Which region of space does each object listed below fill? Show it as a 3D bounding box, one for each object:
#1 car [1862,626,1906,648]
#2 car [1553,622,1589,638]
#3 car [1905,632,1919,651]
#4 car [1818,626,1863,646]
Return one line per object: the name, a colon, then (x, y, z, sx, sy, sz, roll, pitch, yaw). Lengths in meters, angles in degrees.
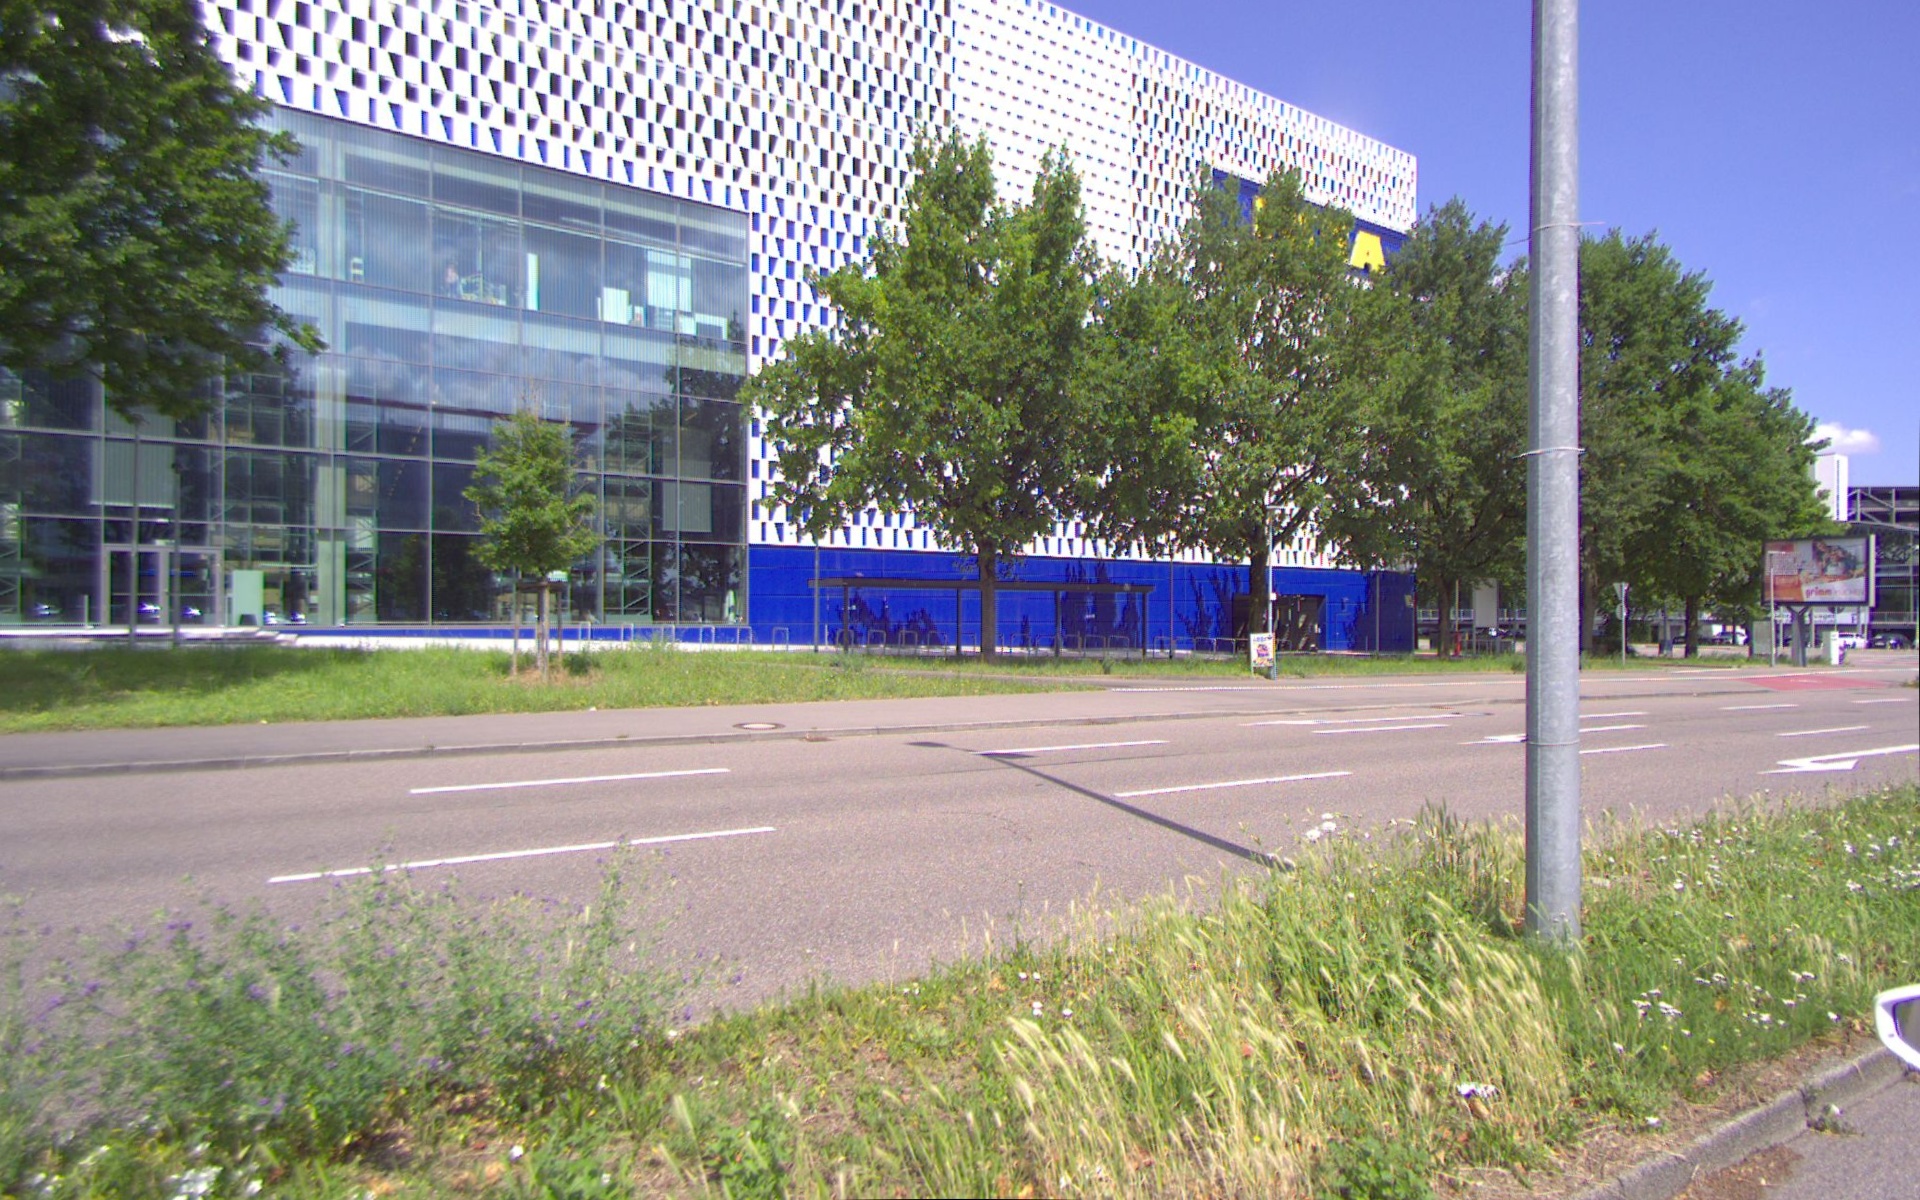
car: (73.409, 2.900, 79.778, 3.577, 1.682, 1.747, 0, 0, -33)
car: (61.469, 3.014, 101.051, 3.660, 1.506, 1.718, 0, 0, -32)
car: (74.949, 3.189, 77.667, 3.711, 1.394, 1.897, 0, 0, -32)
car: (72.126, 2.943, 82.274, 3.660, 1.506, 1.868, 0, 0, -32)
